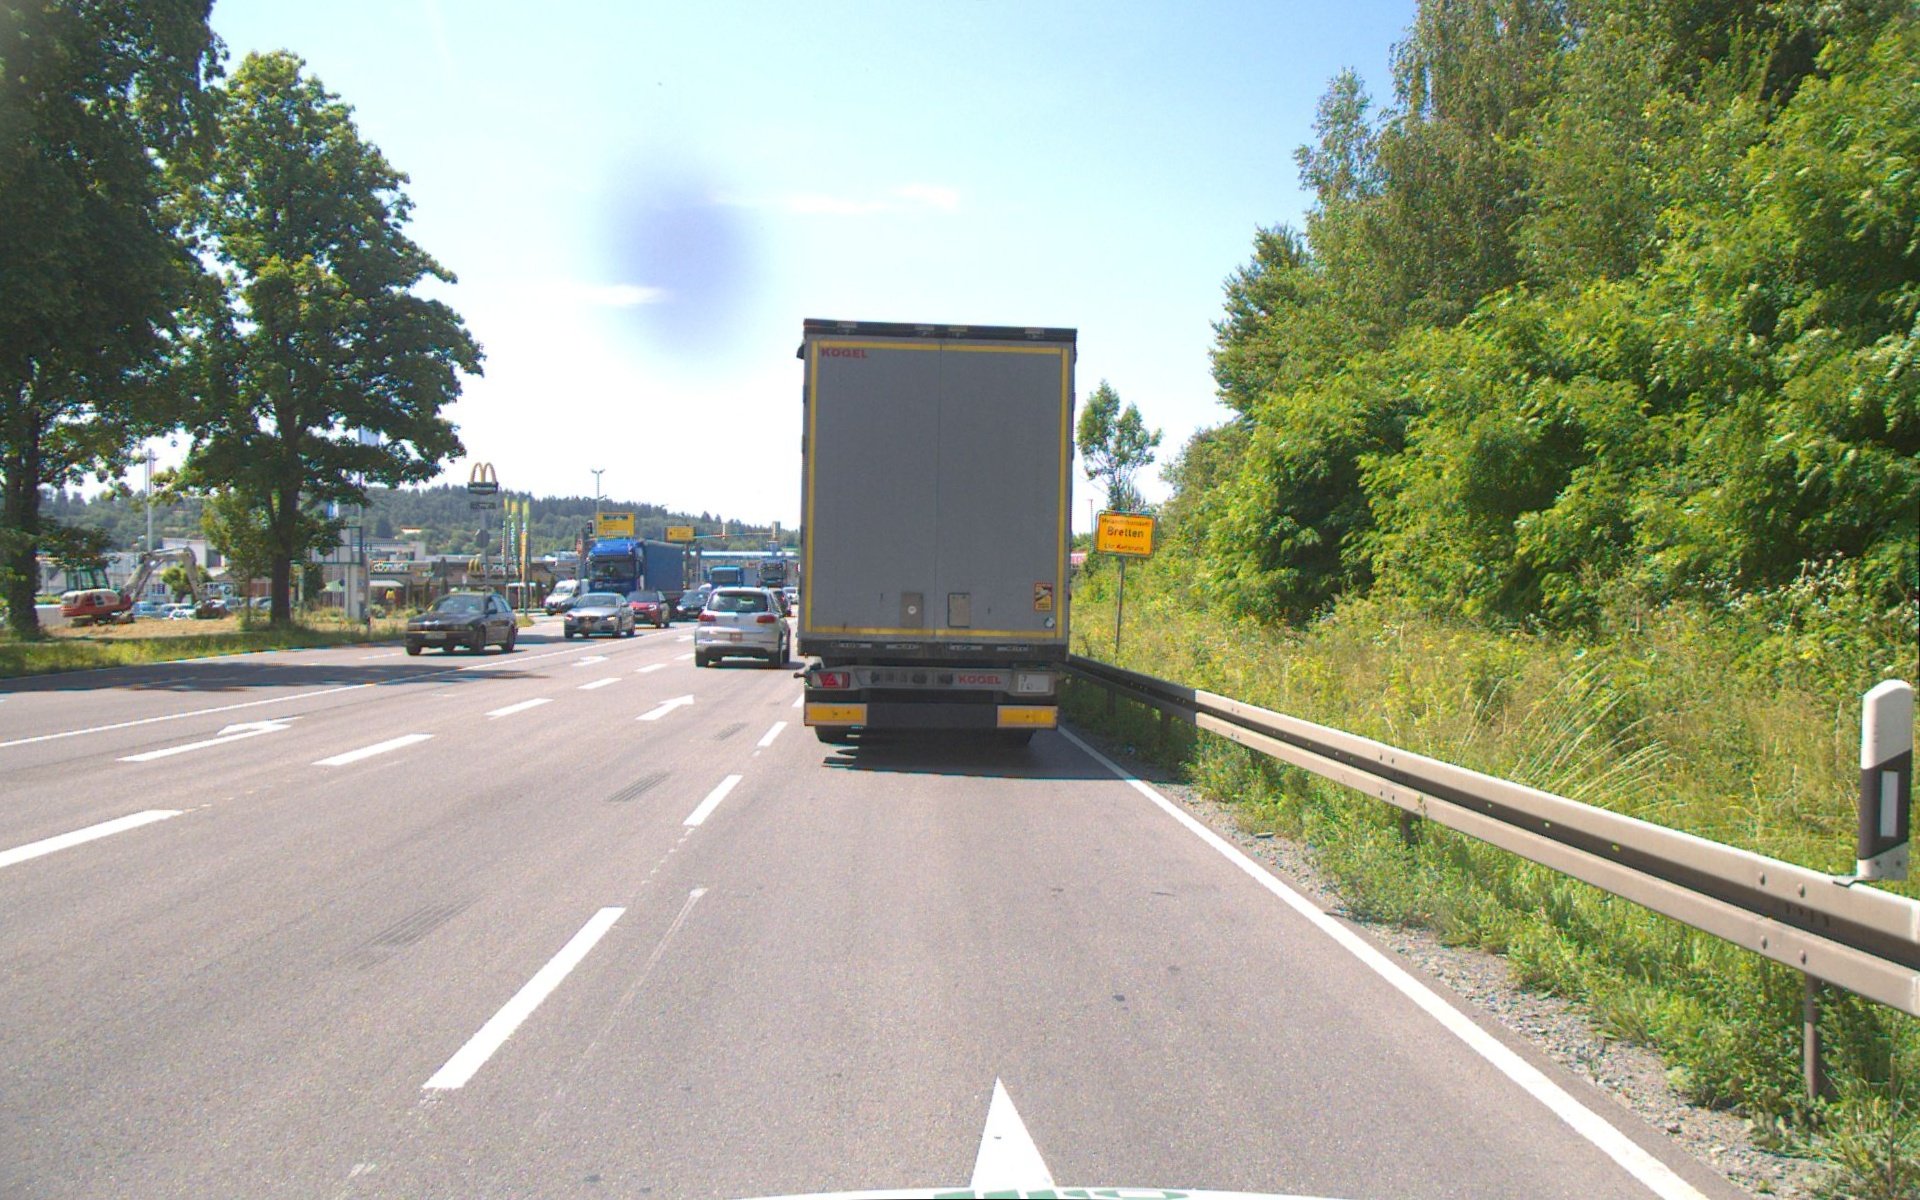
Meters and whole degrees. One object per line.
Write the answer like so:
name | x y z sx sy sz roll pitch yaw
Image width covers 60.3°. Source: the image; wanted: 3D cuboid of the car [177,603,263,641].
car | -34.844 1.013 77.866 3.919 1.680 1.993 0 0 36

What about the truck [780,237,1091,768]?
truck | -0.354 -0.774 23.192 2.700 4.720 16.650 1 -1 -1

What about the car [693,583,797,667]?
car | -4.645 0.515 36.249 1.768 1.699 4.291 1 0 -1

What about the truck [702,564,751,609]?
truck | -18.424 -1.036 131.187 2.789 3.410 11.475 0 0 -3

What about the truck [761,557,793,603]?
truck | -18.817 -1.975 169.718 3.086 4.425 17.516 0 0 -7

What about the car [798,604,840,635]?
car | -6.676 0.905 78.787 1.651 1.423 4.402 0 0 -1

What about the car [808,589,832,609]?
car | -15.366 -0.062 181.476 2.441 2.049 5.524 1 -1 -4

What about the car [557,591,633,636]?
car | -11.948 0.453 54.368 1.731 1.411 3.998 1 -1 -3

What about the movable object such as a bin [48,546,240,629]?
movable object such as a bin | -34.647 -0.542 70.415 2.994 3.356 6.761 0 0 38

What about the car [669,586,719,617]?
car | -13.316 0.067 83.120 1.880 1.506 4.685 1 0 -2

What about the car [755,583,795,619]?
car | -10.861 0.062 97.306 1.953 2.049 3.999 0 0 -1

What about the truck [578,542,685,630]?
truck | -17.176 -0.684 87.836 2.908 4.250 16.567 0 0 -2

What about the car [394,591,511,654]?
car | -12.229 0.546 40.080 1.731 1.411 3.998 1 -1 -3

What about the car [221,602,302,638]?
car | -33.676 0.935 79.772 3.919 1.646 1.833 0 0 36

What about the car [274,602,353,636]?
car | -32.056 0.932 82.008 3.919 1.646 1.833 0 0 36

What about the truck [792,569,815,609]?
truck | -19.472 -1.302 205.056 2.490 4.708 10.815 1 -1 -7

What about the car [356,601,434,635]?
car | -28.525 0.904 83.479 3.919 1.646 1.833 0 0 36

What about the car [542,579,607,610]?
car | -27.813 -0.386 119.536 1.953 2.221 5.192 0 0 22

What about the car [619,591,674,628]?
car | -12.876 0.377 68.196 1.608 1.463 4.015 0 0 -2
